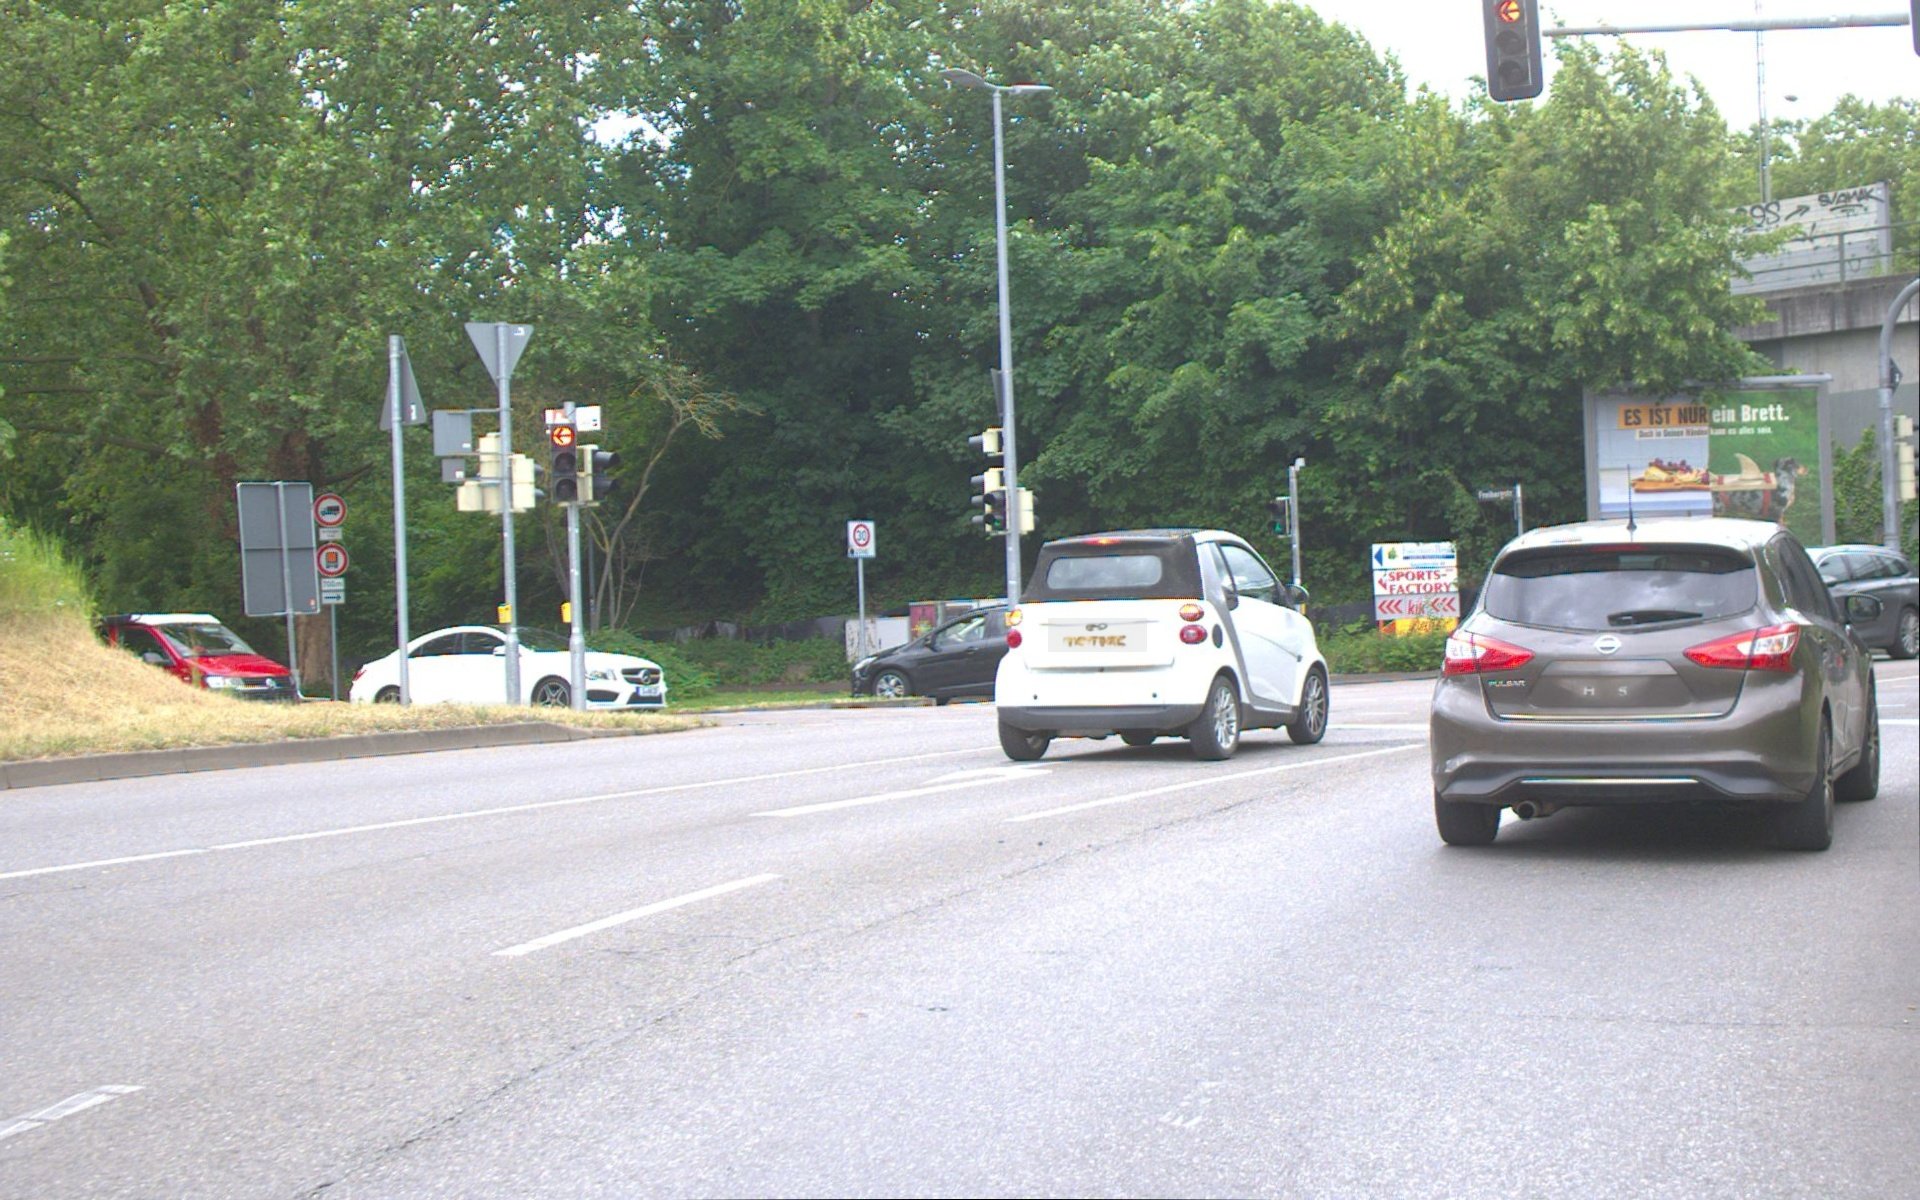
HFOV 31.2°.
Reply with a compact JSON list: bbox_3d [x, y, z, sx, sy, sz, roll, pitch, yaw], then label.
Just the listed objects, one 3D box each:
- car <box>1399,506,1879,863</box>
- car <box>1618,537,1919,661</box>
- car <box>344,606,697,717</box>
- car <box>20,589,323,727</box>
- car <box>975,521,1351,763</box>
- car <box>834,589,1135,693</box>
[{"bbox_3d":[3.450,0.332,16.889,1.846,1.488,3.997,-2,1,17],"label":"car"},{"bbox_3d":[10.211,-0.028,42.516,4.409,1.415,1.770,-2,0,-43],"label":"car"},{"bbox_3d":[-5.950,0.855,46.432,4.412,1.334,1.996,-3,-3,30],"label":"car"},{"bbox_3d":[-11.422,0.843,49.730,4.032,1.807,1.852,-3,-1,30],"label":"car"},{"bbox_3d":[1.459,0.233,23.799,1.577,1.552,3.012,1,1,26],"label":"car"},{"bbox_3d":[0.374,0.603,49.565,4.028,1.446,1.854,-1,-1,13],"label":"car"}]
